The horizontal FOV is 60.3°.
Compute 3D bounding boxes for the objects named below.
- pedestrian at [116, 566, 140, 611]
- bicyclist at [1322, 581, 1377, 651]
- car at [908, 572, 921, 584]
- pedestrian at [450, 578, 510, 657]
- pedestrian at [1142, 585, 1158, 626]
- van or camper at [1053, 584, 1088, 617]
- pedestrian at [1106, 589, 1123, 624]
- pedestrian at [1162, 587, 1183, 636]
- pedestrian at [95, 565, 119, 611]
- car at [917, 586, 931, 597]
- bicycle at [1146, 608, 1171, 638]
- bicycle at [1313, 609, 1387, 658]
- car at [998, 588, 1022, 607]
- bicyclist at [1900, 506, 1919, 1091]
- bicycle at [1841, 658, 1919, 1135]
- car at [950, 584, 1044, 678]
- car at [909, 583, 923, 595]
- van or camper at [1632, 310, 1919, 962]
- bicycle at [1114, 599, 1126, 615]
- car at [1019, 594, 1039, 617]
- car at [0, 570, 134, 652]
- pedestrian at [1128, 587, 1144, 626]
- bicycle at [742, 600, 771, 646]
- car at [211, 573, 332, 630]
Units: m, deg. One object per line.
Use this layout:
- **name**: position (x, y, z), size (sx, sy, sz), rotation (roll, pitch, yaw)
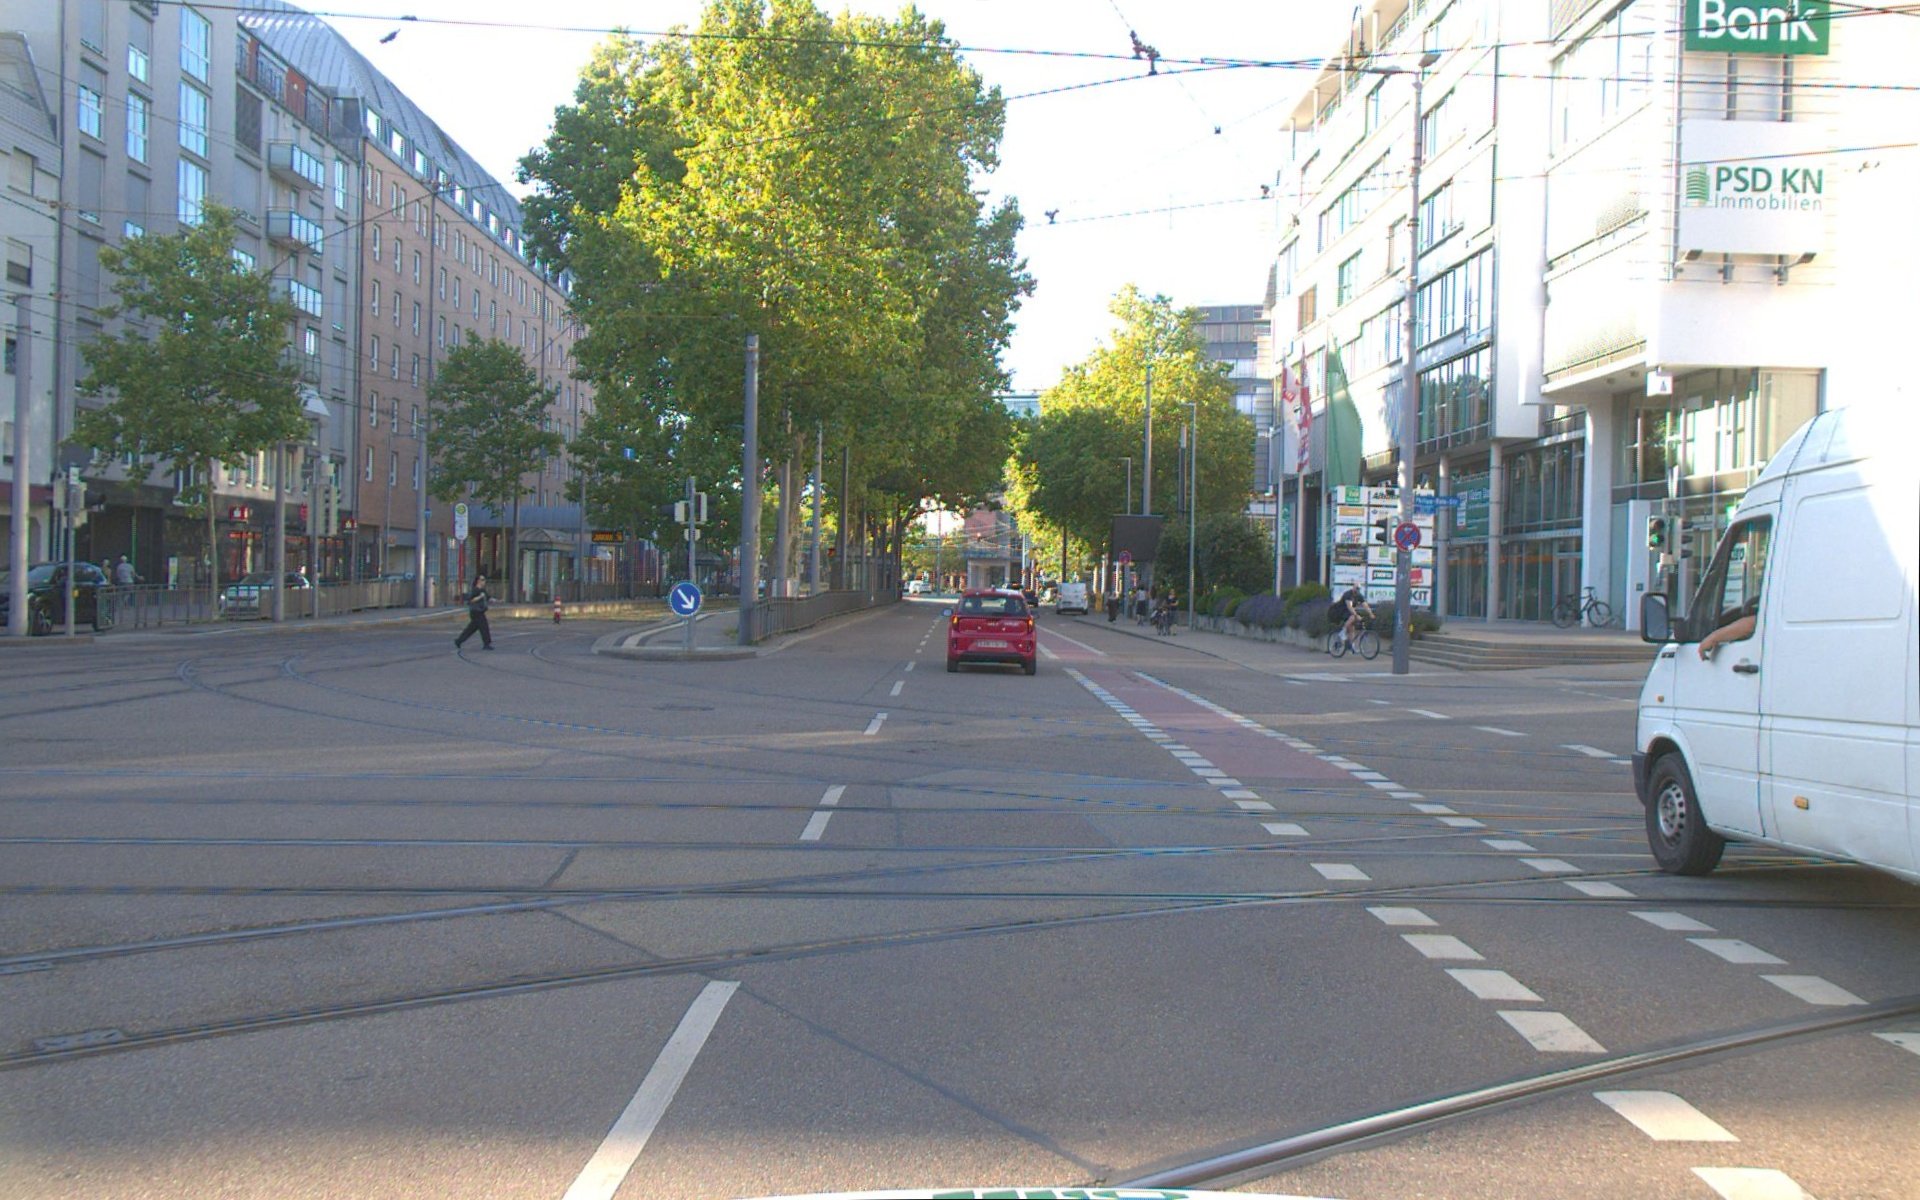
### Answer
- **pedestrian**: position (-27.993, -0.384, 55.675), size (0.523, 1.520, 0.587), rotation (1, 0, -3)
- **bicyclist**: position (9.300, 0.363, 39.473), size (0.714, 1.631, 1.077), rotation (-2, 1, -31)
- **car**: position (-6.731, -3.255, 244.022), size (1.743, 1.616, 3.408), rotation (2, 0, -5)
- **pedestrian**: position (-9.721, 0.353, 33.525), size (1.025, 1.571, 0.694), rotation (1, 0, -3)
- **pedestrian**: position (8.612, 0.233, 74.835), size (0.529, 1.827, 0.906), rotation (-2, 0, -2)
- **van or camper**: position (7.101, -0.004, 106.486), size (1.952, 2.024, 4.745), rotation (1, 0, 1)
- **pedestrian**: position (7.195, 0.284, 77.141), size (0.629, 1.607, 0.723), rotation (-3, 0, -3)
- **pedestrian**: position (7.563, 0.408, 58.941), size (0.633, 1.709, 0.651), rotation (1, 0, -1)
- **pedestrian**: position (-28.648, -0.409, 55.543), size (0.523, 1.520, 0.587), rotation (1, 0, -3)
- **car**: position (-5.021, -1.183, 231.440), size (1.743, 1.561, 3.408), rotation (2, 1, -5)
- **bicycle**: position (7.074, 0.799, 58.966), size (0.510, 0.992, 2.201), rotation (-3, 1, -2)
- **bicycle**: position (9.306, 0.789, 39.489), size (0.689, 1.117, 1.732), rotation (-3, 1, -30)
- **car**: position (4.532, -0.228, 149.840), size (1.743, 1.561, 3.509), rotation (2, 1, -5)
- **bicyclist**: position (2.971, 0.561, 4.153), size (0.636, 1.631, 1.089), rotation (1, 0, 4)
- **bicycle**: position (2.948, 0.841, 4.057), size (0.636, 1.303, 1.967), rotation (1, 0, 4)
- **car**: position (0.629, 0.516, 30.127), size (1.580, 1.561, 3.412), rotation (2, 0, 0)
- **car**: position (-6.325, -1.597, 238.020), size (1.743, 1.561, 3.408), rotation (2, 1, -5)
- **van or camper**: position (5.034, 0.171, 6.837), size (1.928, 2.763, 6.305), rotation (2, 1, 1)
- **bicycle**: position (10.834, 0.462, 111.965), size (0.574, 1.086, 1.899), rotation (0, 0, -1)
- **car**: position (5.679, 0.415, 137.217), size (1.601, 1.831, 3.331), rotation (1, 0, 2)
- **car**: position (-20.495, 0.196, 37.010), size (1.915, 1.702, 4.260), rotation (1, 1, -1)
- **pedestrian**: position (7.939, 0.304, 74.648), size (0.553, 1.732, 0.906), rotation (-2, 0, -2)
- **bicycle**: position (-4.686, 0.514, 38.150), size (0.387, 0.965, 1.352), rotation (1, 3, 5)
- **car**: position (-20.791, 0.011, 50.109), size (1.915, 1.623, 4.260), rotation (1, 1, -1)
